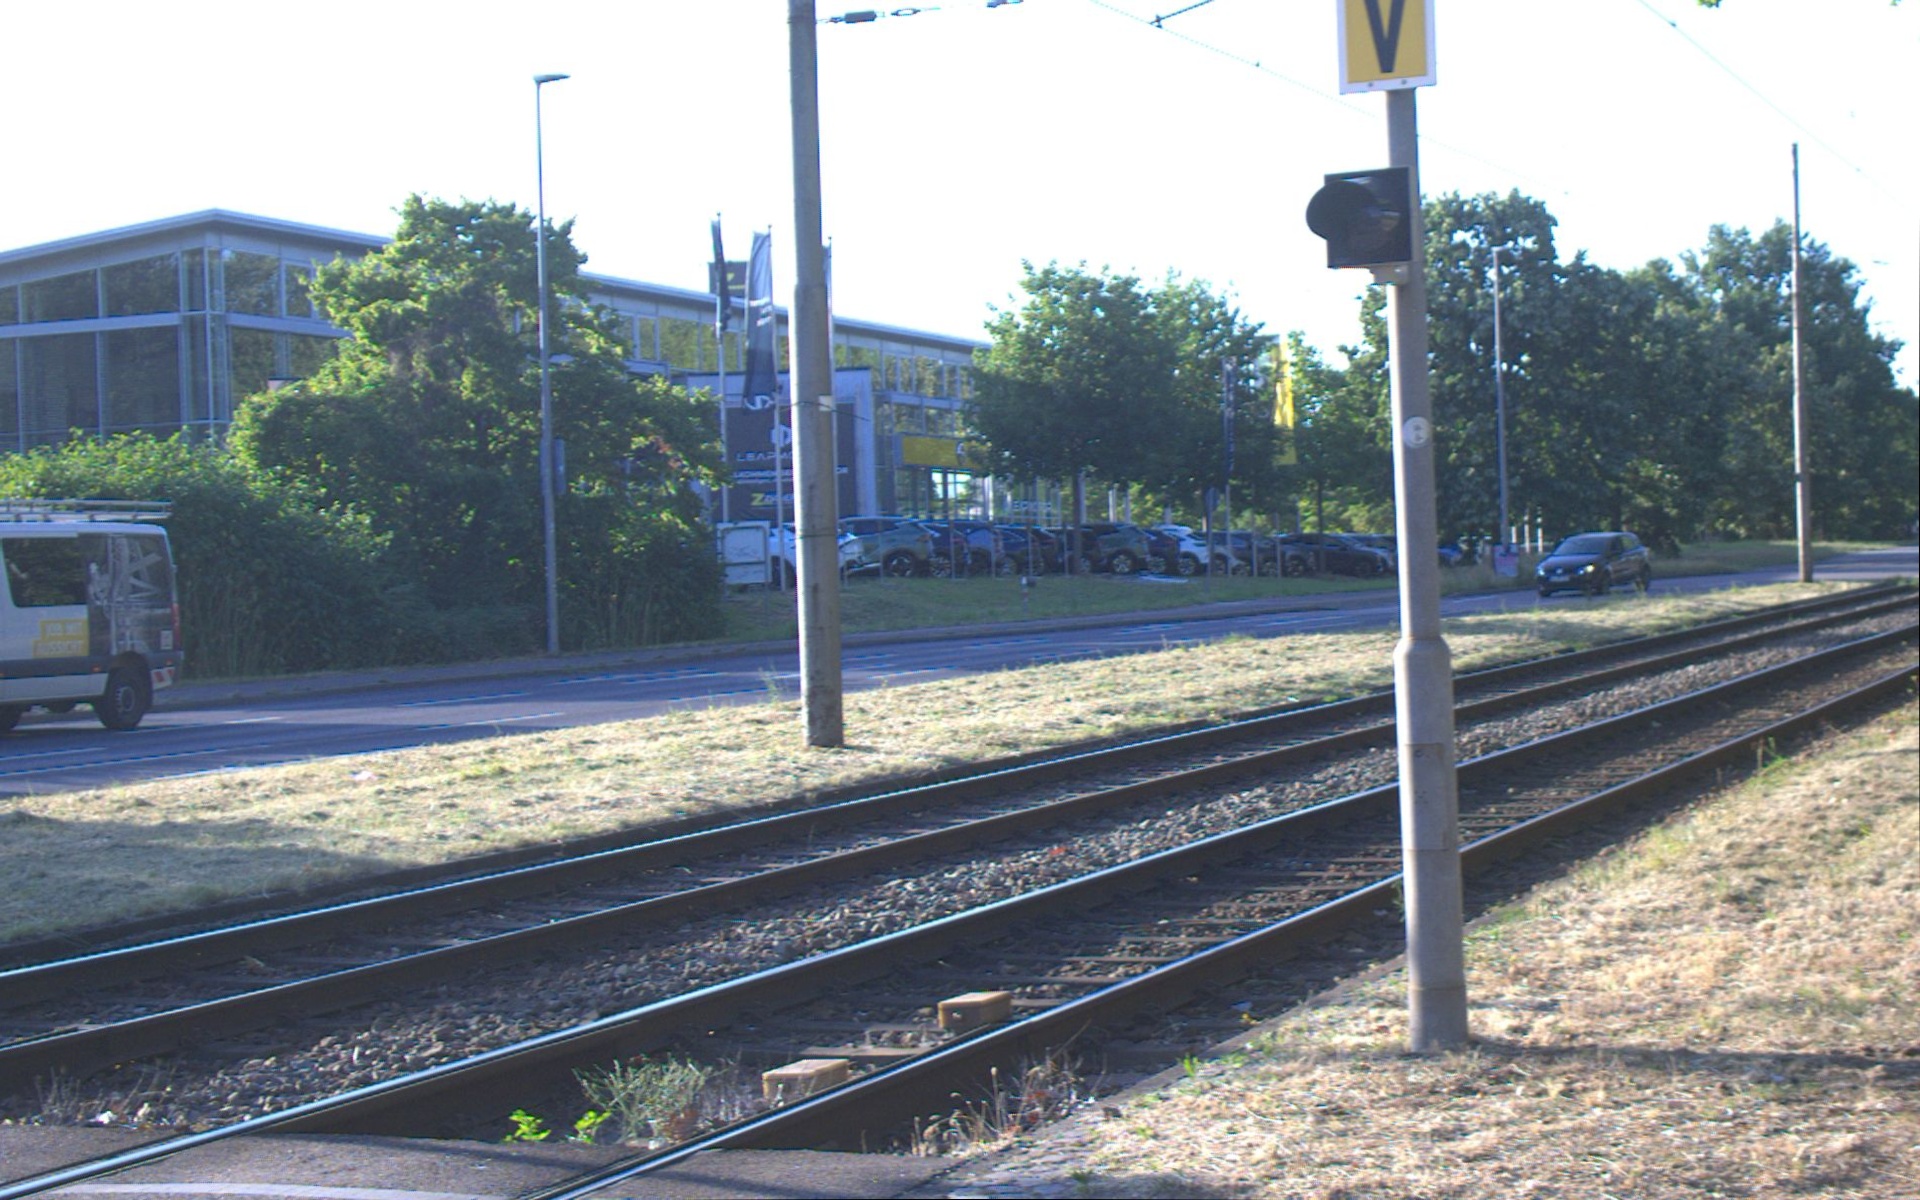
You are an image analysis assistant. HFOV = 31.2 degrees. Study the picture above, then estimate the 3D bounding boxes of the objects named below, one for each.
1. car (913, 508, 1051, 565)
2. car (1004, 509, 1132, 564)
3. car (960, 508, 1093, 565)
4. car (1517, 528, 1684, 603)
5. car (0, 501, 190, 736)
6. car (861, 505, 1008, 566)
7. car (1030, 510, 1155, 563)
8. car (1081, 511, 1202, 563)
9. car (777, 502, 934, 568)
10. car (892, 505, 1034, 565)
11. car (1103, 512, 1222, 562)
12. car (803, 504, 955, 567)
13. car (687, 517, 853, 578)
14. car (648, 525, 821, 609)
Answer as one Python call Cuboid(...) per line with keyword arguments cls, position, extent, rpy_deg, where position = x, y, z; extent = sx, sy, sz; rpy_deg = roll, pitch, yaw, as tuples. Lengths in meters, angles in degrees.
Cuboid(cls="car", position=(0.633, -1.788, 97.117), extent=(3.787, 1.561, 1.759), rpy_deg=(-1, 1, 3))
Cuboid(cls="car", position=(3.249, -1.891, 102.928), extent=(3.787, 1.561, 1.759), rpy_deg=(-1, 1, 3))
Cuboid(cls="car", position=(1.932, -1.837, 99.808), extent=(3.787, 1.561, 1.759), rpy_deg=(-1, 1, 3))
Cuboid(cls="car", position=(15.305, -0.822, 82.070), extent=(3.989, 1.678, 1.814), rpy_deg=(-2, 1, -41))
Cuboid(cls="car", position=(-11.167, 0.202, 38.291), extent=(2.005, 2.557, 5.869), rpy_deg=(-1, 1, 22))
Cuboid(cls="car", position=(-0.672, -1.705, 91.351), extent=(3.787, 1.561, 1.759), rpy_deg=(-1, 1, 3))
Cuboid(cls="car", position=(4.081, -1.933, 105.614), extent=(3.787, 1.561, 1.759), rpy_deg=(-1, 1, 3))
Cuboid(cls="car", position=(5.726, -1.990, 108.577), extent=(3.787, 1.561, 1.759), rpy_deg=(-1, 1, 3))
Cuboid(cls="car", position=(-2.603, -1.618, 86.100), extent=(3.787, 1.561, 1.759), rpy_deg=(-1, 1, 3))
Cuboid(cls="car", position=(0.109, -1.781, 94.341), extent=(3.787, 1.561, 1.759), rpy_deg=(-1, 1, 3))
Cuboid(cls="car", position=(6.538, -2.031, 111.255), extent=(3.787, 1.561, 1.759), rpy_deg=(-1, 1, 3))
Cuboid(cls="car", position=(-2.072, -1.654, 88.570), extent=(3.787, 1.561, 1.759), rpy_deg=(-1, 1, 3))
Cuboid(cls="car", position=(-4.545, -1.262, 82.391), extent=(3.787, 1.383, 1.759), rpy_deg=(-1, 1, 3))
Cuboid(cls="car", position=(-5.182, -0.761, 79.311), extent=(3.787, 1.853, 1.759), rpy_deg=(-1, 1, 3))
